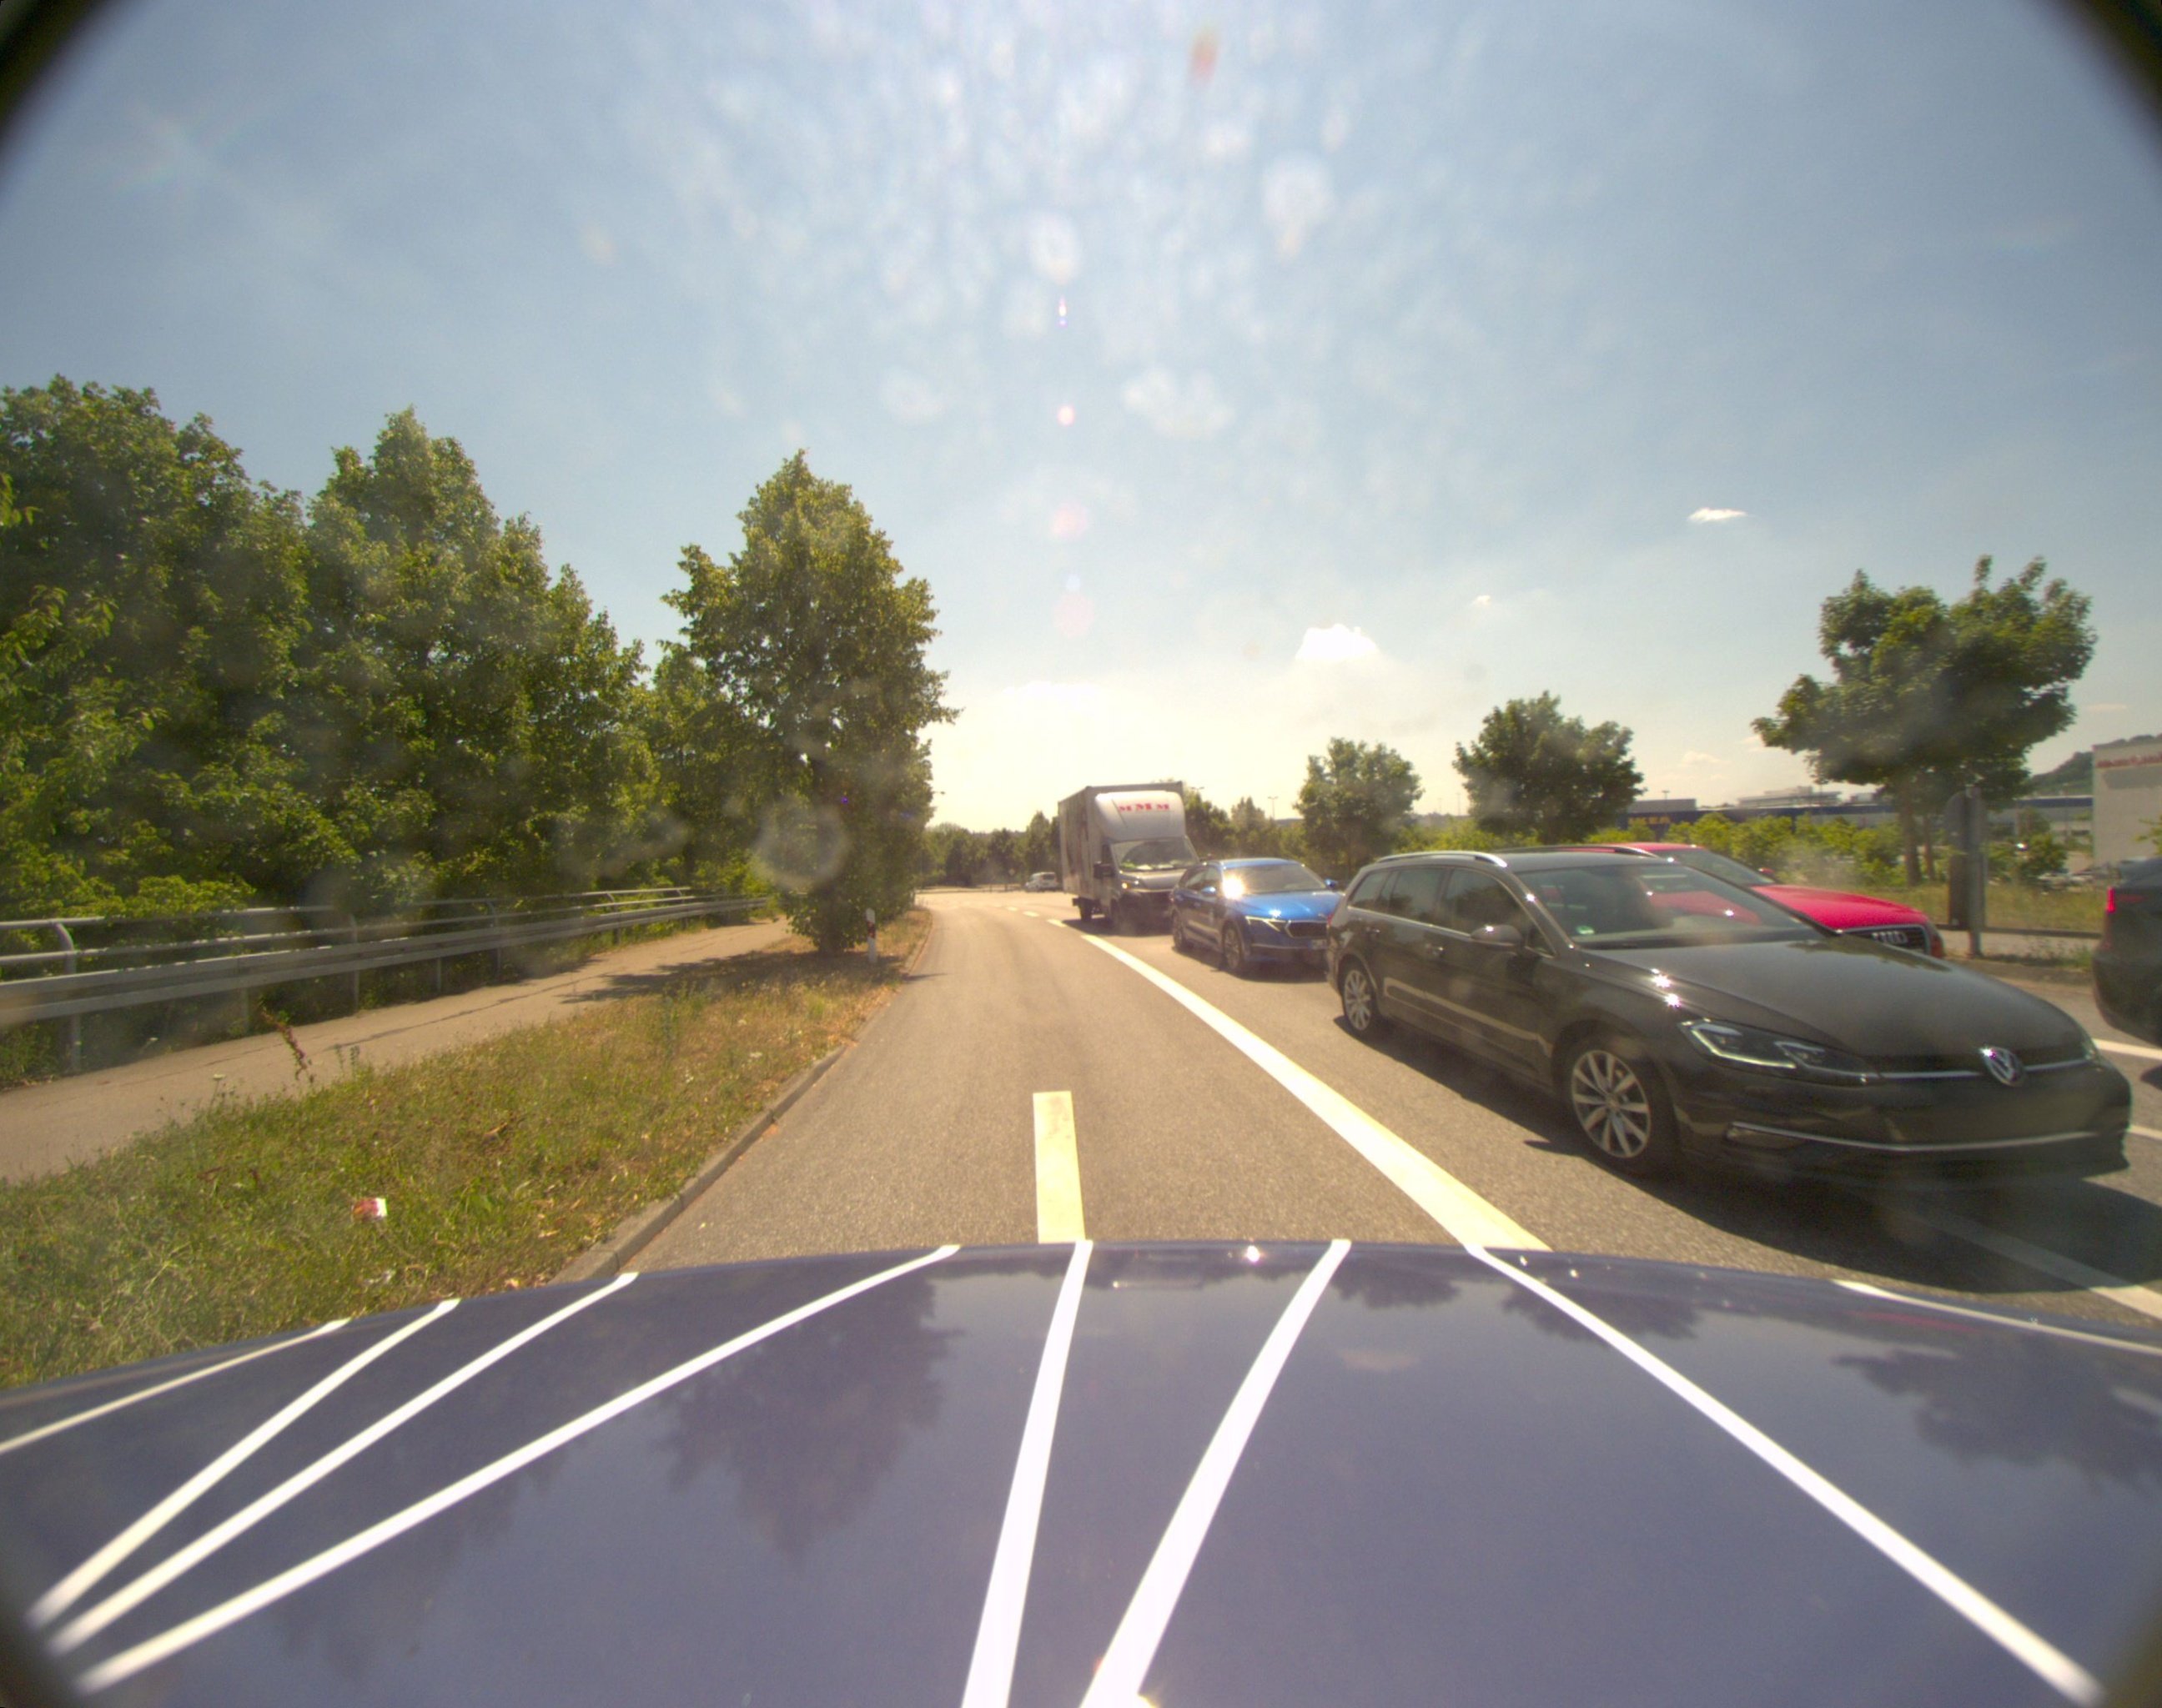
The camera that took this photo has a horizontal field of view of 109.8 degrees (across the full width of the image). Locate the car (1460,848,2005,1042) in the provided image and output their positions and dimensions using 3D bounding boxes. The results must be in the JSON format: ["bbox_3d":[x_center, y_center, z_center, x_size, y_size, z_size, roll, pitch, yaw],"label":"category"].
[{"bbox_3d":[6.118,0.674,8.022,1.665,1.380,4.447,-3,1,-5],"label":"car"}]

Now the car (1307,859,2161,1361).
[{"bbox_3d":[3.089,0.818,4.649,1.783,1.474,4.427,-2,0,-4],"label":"car"}]

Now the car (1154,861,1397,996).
[{"bbox_3d":[2.475,0.885,10.979,1.713,1.454,4.486,-3,-1,-9],"label":"car"}]

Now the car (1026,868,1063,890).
[{"bbox_3d":[-3.480,2.337,71.631,2.002,1.949,3.992,-2,1,-25],"label":"car"}]

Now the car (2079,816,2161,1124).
[{"bbox_3d":[6.685,0.583,2.067,1.880,1.591,4.503,-2,1,-5],"label":"car"}]

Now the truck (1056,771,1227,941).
[{"bbox_3d":[1.109,0.107,18.781,2.416,3.327,7.198,-2,-1,-9],"label":"truck"}]
